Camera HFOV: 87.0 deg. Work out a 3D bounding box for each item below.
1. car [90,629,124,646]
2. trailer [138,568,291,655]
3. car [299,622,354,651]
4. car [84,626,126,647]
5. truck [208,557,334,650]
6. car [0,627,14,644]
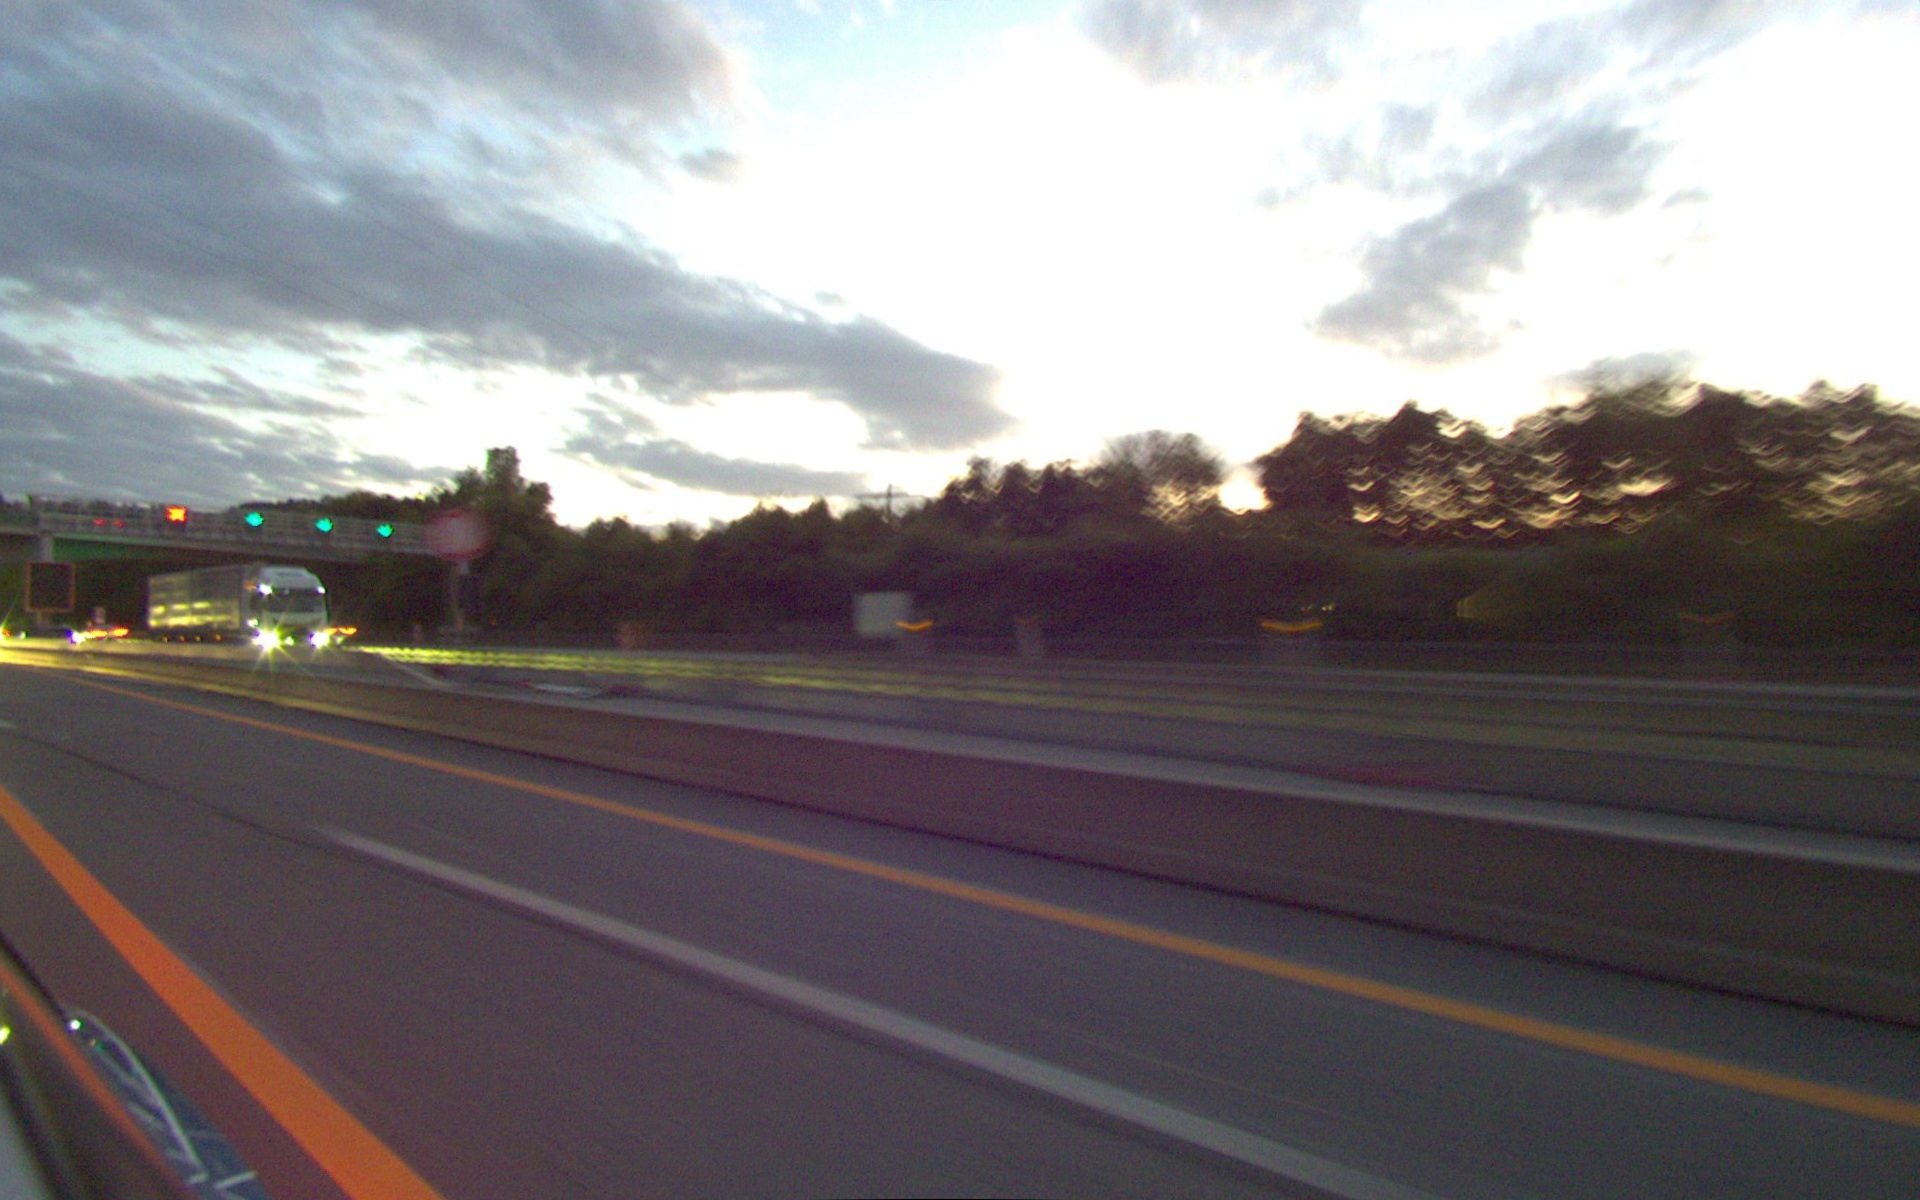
[{"bbox_3d":[-81.178,3.569,96.253,3.924,1.466,1.687,-1,0,38],"label":"car"},{"bbox_3d":[-36.474,0.565,49.284,11.816,3.811,2.773,-1,0,37],"label":"trailer"},{"bbox_3d":[-41.037,2.340,65.564,3.940,1.727,1.888,-1,0,40],"label":"car"},{"bbox_3d":[-72.235,3.037,85.470,4.836,1.673,1.813,-1,0,39],"label":"car"},{"bbox_3d":[-30.432,0.159,44.606,6.293,3.803,2.776,-1,0,38],"label":"truck"},{"bbox_3d":[-116.698,4.292,123.058,3.996,2.029,1.974,-1,-2,39],"label":"car"}]
